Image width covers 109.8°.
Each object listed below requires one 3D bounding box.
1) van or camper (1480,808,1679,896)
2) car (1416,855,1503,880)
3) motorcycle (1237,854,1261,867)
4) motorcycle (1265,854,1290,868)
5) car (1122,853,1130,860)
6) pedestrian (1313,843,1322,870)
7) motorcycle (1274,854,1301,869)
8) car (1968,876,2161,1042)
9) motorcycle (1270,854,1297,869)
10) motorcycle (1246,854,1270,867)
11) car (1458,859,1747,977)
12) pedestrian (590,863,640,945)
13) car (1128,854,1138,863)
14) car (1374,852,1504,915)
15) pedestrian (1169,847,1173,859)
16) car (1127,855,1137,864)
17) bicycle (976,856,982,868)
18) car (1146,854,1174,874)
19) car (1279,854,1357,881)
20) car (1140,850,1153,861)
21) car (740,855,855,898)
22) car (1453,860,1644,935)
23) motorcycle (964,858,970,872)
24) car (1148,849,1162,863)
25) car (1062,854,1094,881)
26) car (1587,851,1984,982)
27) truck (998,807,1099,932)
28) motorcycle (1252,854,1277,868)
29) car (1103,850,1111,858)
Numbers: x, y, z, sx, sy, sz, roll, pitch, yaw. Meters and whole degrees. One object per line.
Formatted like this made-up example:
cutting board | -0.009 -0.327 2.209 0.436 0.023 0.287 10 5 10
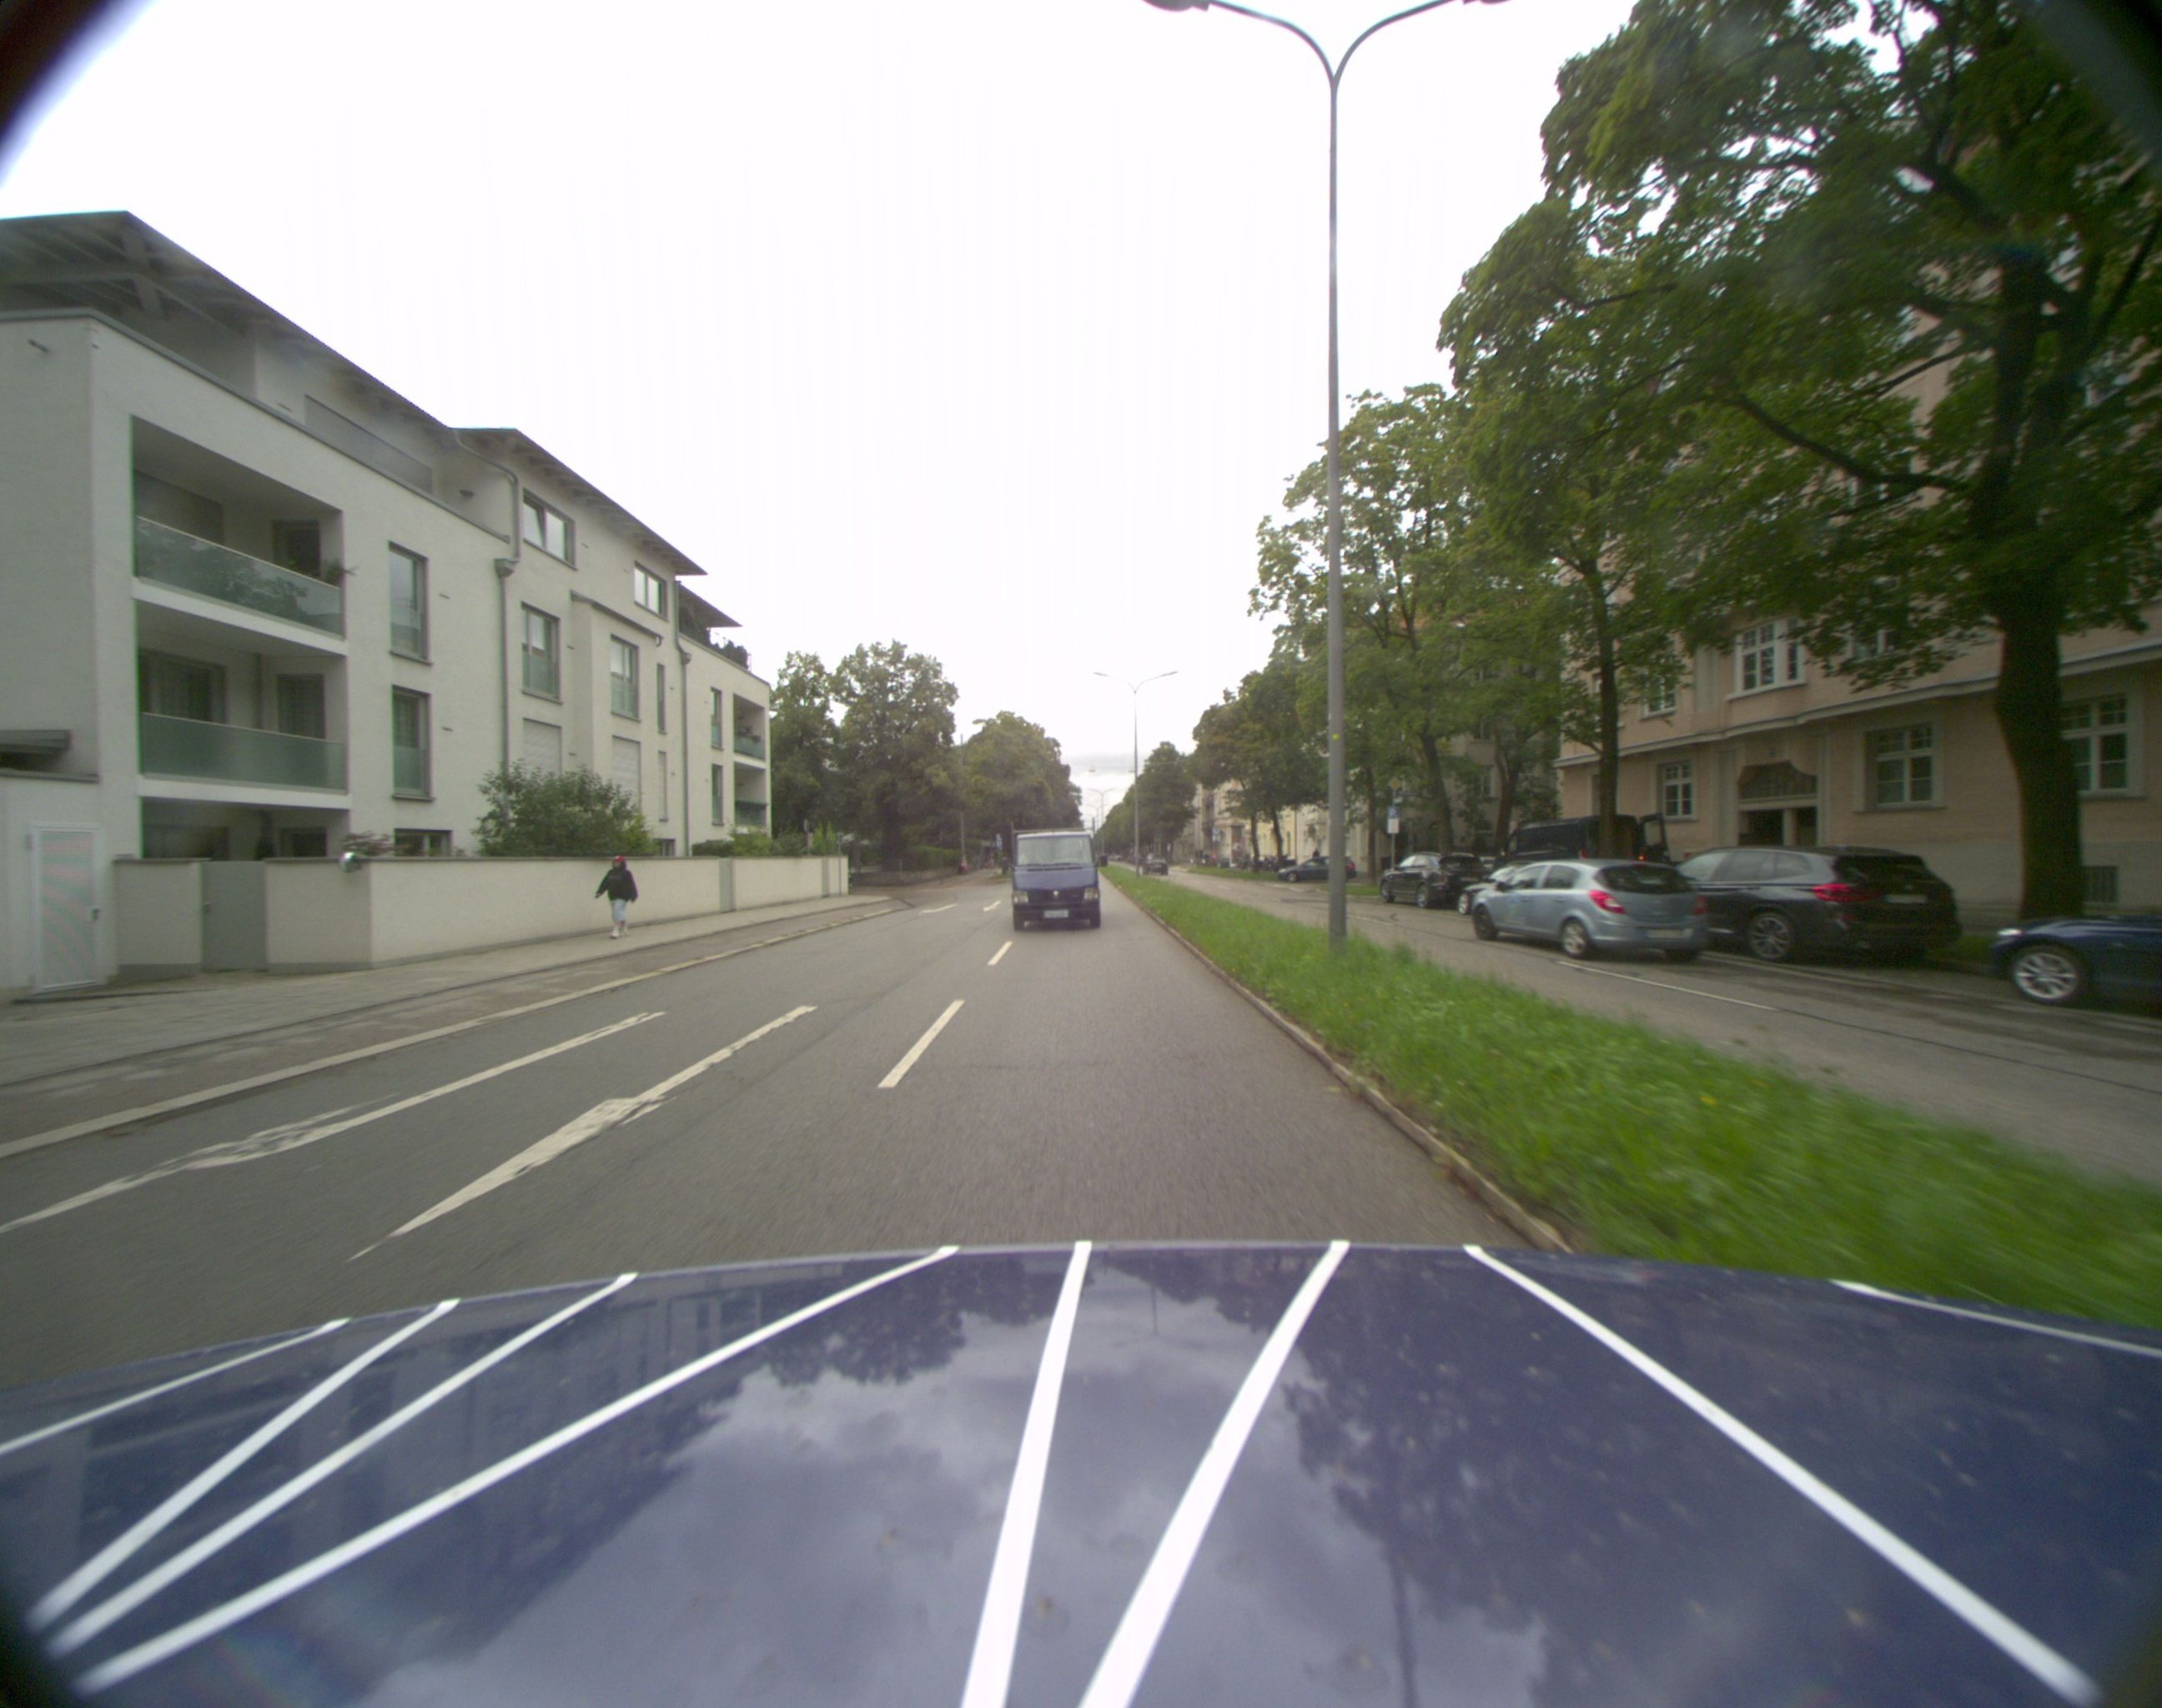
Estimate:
van or camper | 16.658 -0.062 26.075 2.351 2.564 6.851 -1 0 0
car | 21.255 0.753 42.721 3.997 1.314 1.795 -1 0 -1
motorcycle | 14.978 0.557 67.723 1.954 1.143 0.597 -1 1 21
motorcycle | 16.139 0.578 62.388 1.953 1.143 0.597 -1 1 38
car | 11.718 0.640 199.013 1.872 1.827 4.000 -1 0 0
pedestrian | 18.053 0.177 58.056 0.599 2.048 0.685 -1 1 20
motorcycle | 16.119 0.585 59.312 1.953 1.143 0.597 -1 1 38
car | 10.466 0.964 6.052 1.731 1.398 4.363 -1 0 0
motorcycle | 16.186 0.595 60.759 1.953 1.143 0.597 -1 1 38
motorcycle | 15.285 0.564 65.717 1.953 1.143 0.597 -1 1 38
car | 7.927 0.864 12.118 1.815 1.498 4.057 1 0 0
pedestrian | -9.304 0.984 15.192 0.529 1.572 0.729 1 1 -1
car | 10.930 1.029 161.205 1.872 1.827 4.000 -1 0 0
car | 10.707 0.804 23.128 1.878 1.677 4.438 -1 0 0
pedestrian | 15.925 -0.192 134.056 0.641 2.031 0.738 -1 1 11
car | 11.126 1.120 166.534 1.872 1.827 4.000 -1 0 0
bicycle | -9.579 0.785 71.216 0.490 1.092 1.631 -1 0 -10
car | 6.226 0.741 60.486 1.815 1.498 4.323 1 0 0
car | 13.068 0.758 41.874 3.991 1.367 1.865 -1 -1 20
car | 11.516 0.205 134.031 1.872 1.827 4.000 -1 0 0
car | -13.490 1.049 36.347 4.730 1.913 1.875 -1 2 4
car | 10.599 0.895 17.665 1.696 1.446 4.492 -1 0 0
motorcycle | -9.555 0.893 63.688 0.497 1.135 1.631 -1 0 -10
car | 11.129 0.236 114.311 1.790 2.002 4.000 -1 0 0
car | -0.170 0.844 48.998 1.946 1.642 3.999 -1 0 0
car | 10.510 0.784 12.004 1.883 1.636 4.770 -1 0 0
truck | -0.617 0.303 17.791 1.998 2.475 5.151 -1 0 1
motorcycle | 15.504 0.578 64.249 1.953 1.143 0.597 -1 1 38
car | 6.522 -0.010 190.381 1.814 1.761 4.000 -1 0 1
